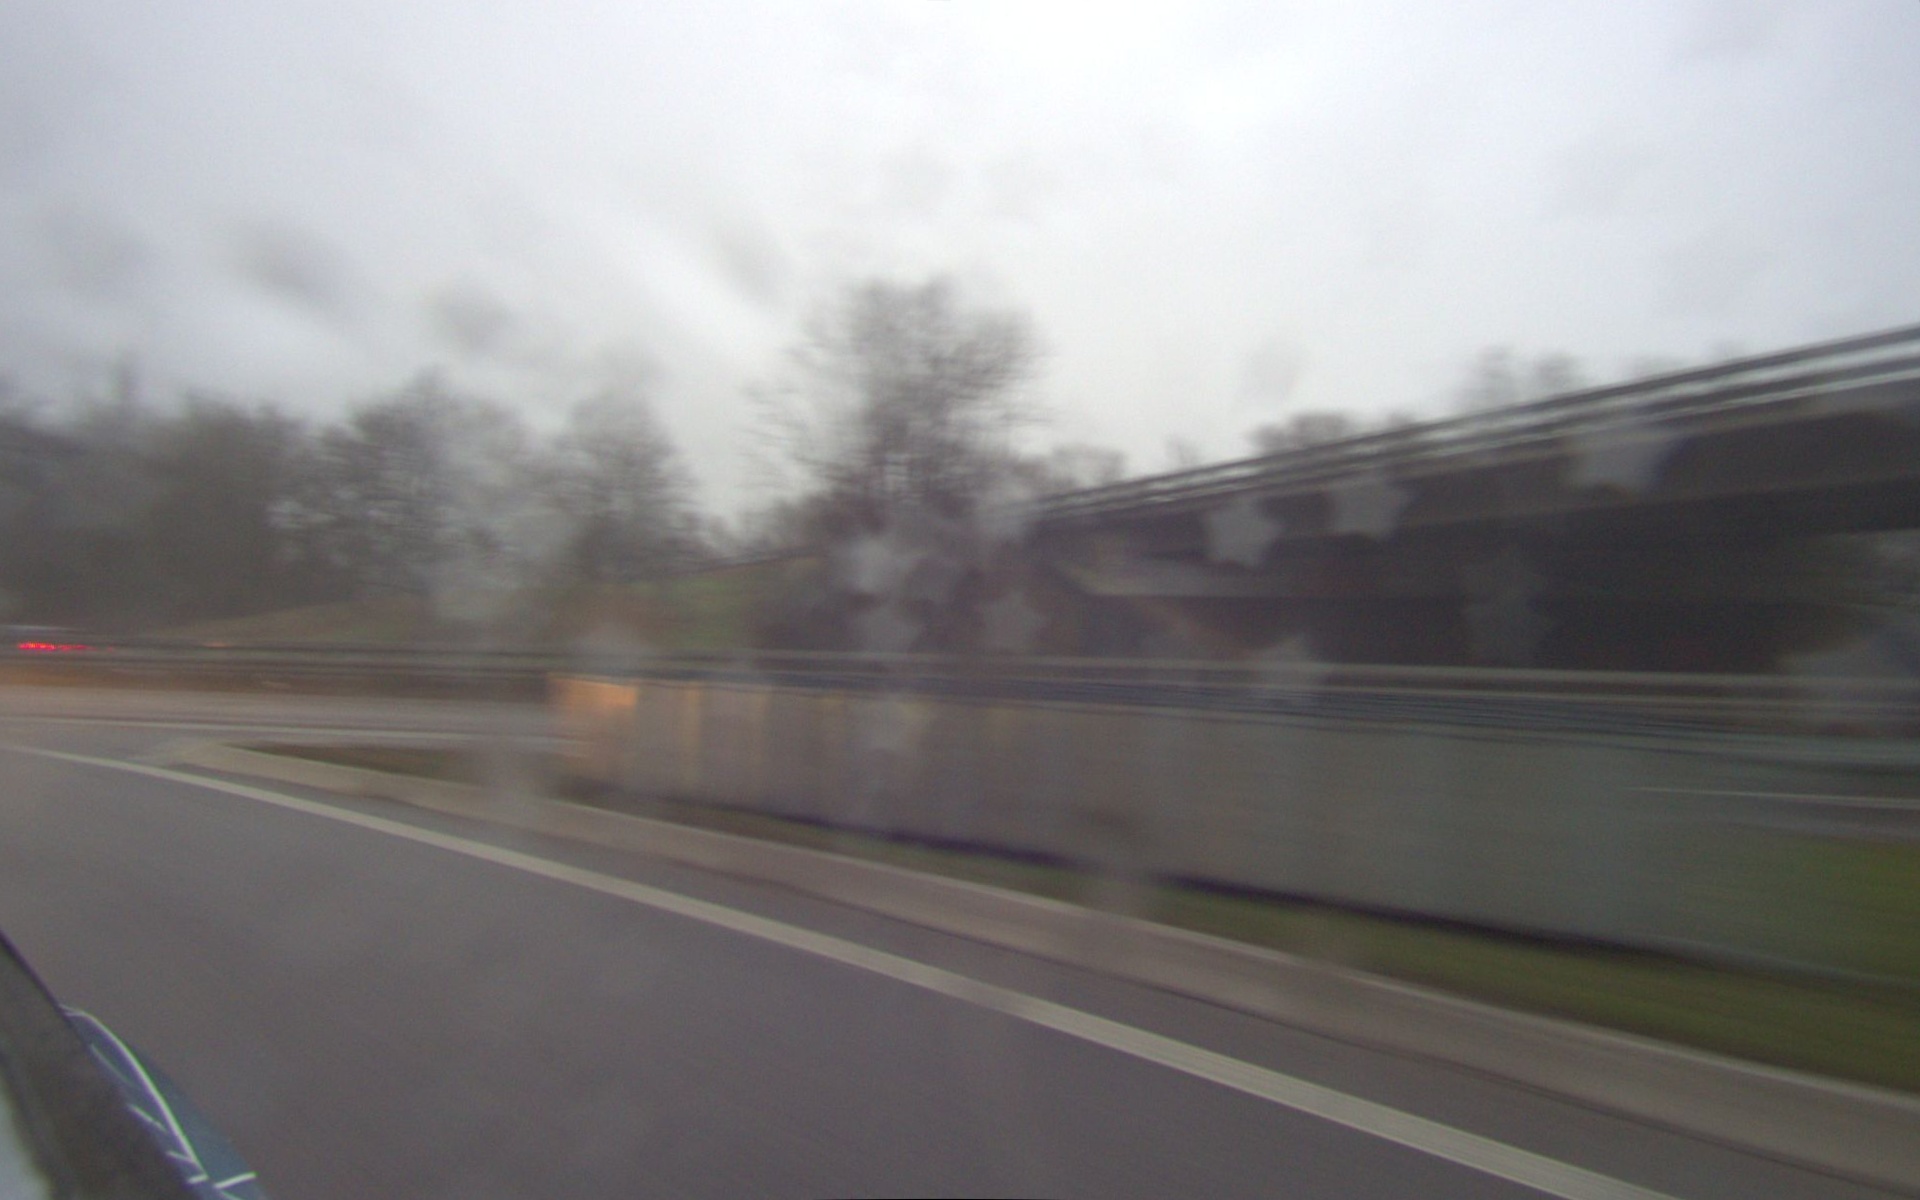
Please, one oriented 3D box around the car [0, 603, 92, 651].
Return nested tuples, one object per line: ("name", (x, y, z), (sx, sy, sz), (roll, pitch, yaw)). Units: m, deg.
("car", (-32.423, 0.909, 34.795), (4.150, 1.581, 1.753), (0, -1, 12))
